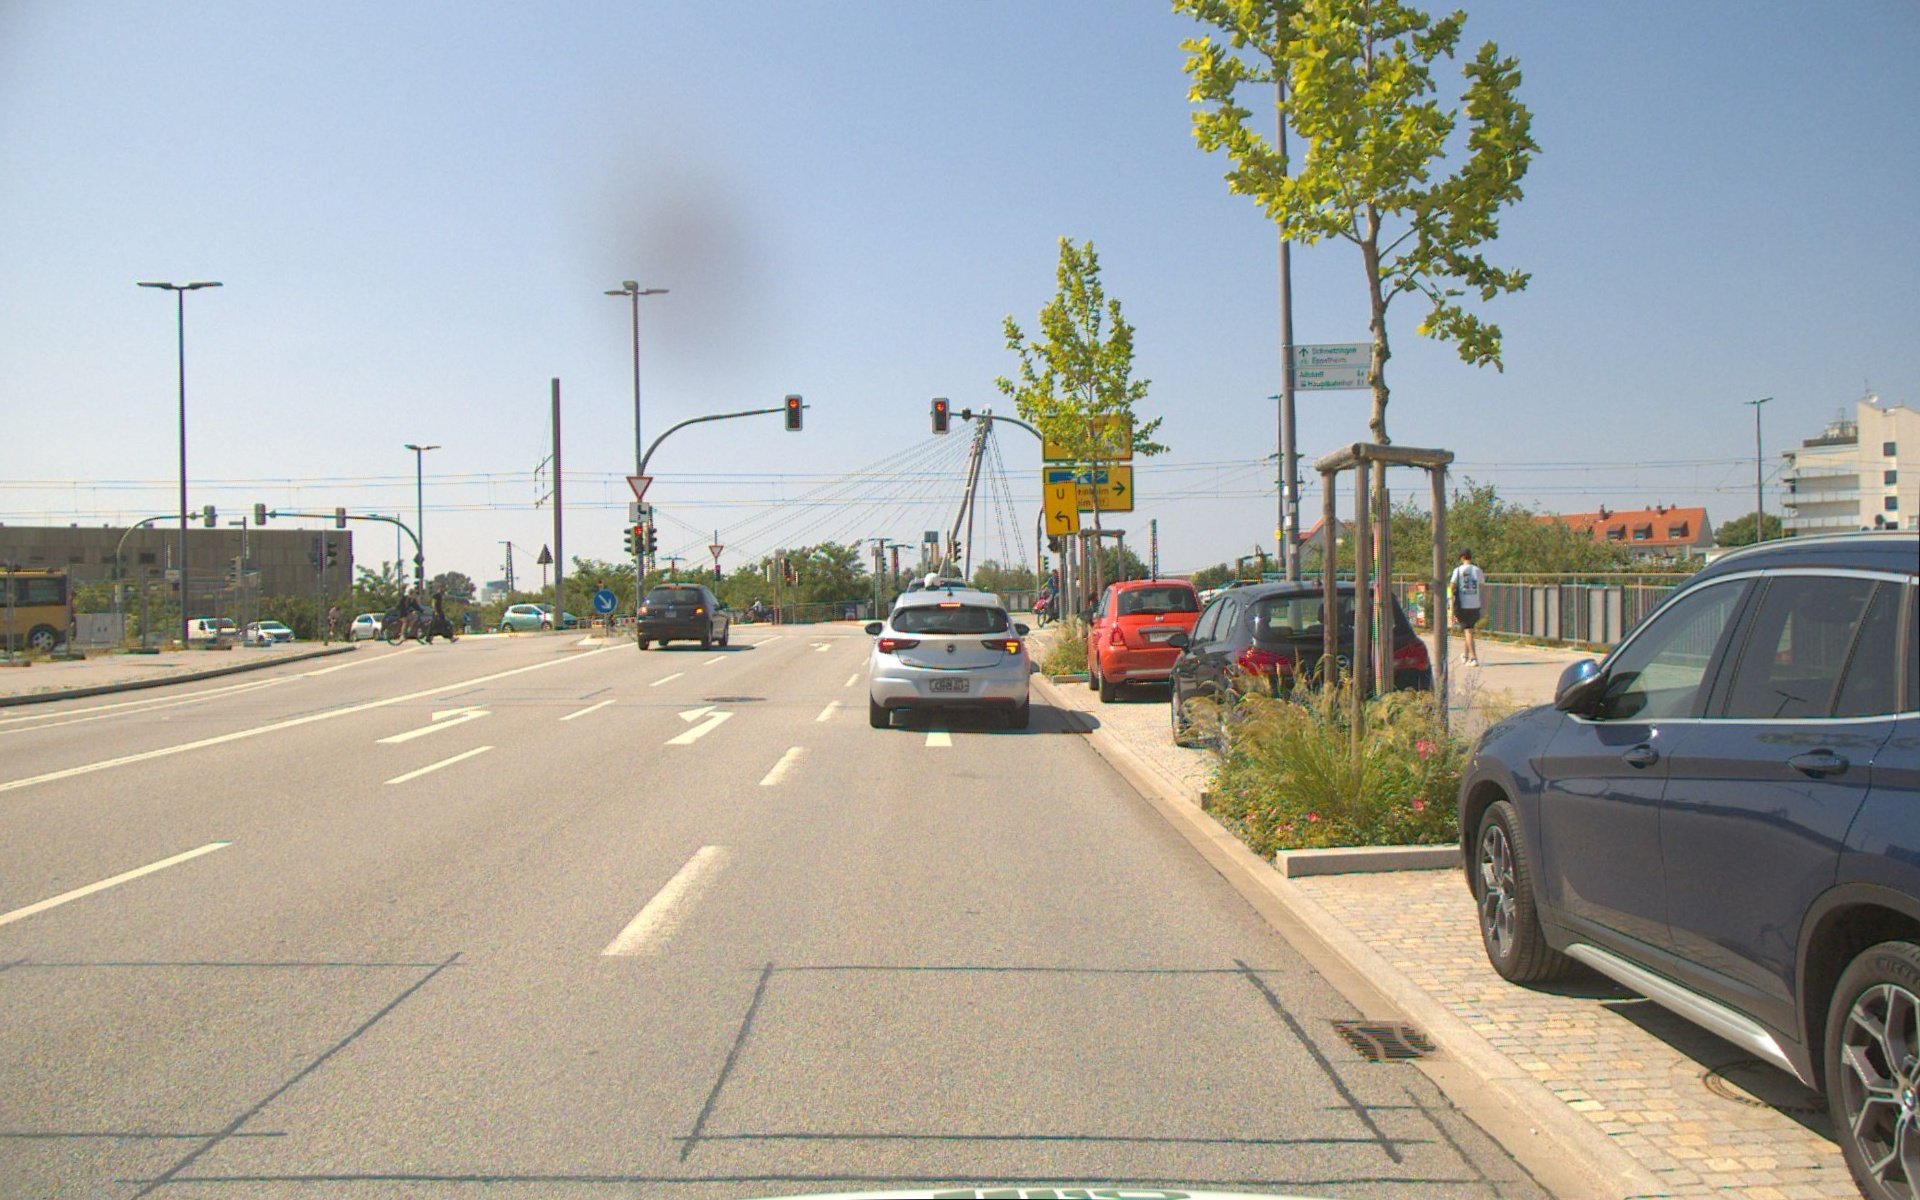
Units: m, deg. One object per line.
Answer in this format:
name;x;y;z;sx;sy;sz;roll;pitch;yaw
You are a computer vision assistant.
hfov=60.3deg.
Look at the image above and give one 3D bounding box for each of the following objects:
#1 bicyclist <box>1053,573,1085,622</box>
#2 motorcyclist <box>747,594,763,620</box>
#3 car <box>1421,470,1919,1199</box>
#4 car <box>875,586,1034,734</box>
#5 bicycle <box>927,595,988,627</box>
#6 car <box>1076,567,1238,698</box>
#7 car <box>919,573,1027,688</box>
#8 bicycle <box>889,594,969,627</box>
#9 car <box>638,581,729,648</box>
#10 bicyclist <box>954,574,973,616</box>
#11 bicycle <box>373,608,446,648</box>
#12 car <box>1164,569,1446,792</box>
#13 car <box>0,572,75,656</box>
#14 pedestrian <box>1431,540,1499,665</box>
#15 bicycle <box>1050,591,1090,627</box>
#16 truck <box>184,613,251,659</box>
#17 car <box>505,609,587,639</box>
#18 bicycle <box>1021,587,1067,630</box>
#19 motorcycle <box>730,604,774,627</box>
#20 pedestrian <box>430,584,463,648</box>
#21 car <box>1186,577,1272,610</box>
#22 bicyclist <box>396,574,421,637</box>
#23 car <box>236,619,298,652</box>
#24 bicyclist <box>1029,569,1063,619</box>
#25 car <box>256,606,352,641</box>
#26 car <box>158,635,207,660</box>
bicyclist;3.657;-0.077;55.333;0.803;1.596;0.948;1;-1;20
motorcyclist;-11.850;0.416;95.778;0.792;1.502;0.885;1;-1;0
car;2.922;0.550;4.968;1.767;1.712;4.270;-2;0;-1
car;-0.084;0.614;19.420;1.656;1.546;4.270;0;0;-1
bicycle;-0.088;0.404;61.459;2.271;1.153;0.637;0;0;0
car;2.603;0.413;22.622;1.636;1.567;3.916;-2;0;-1
car;0.164;0.473;26.795;1.601;1.703;3.744;1;0;-1
bicycle;-0.952;0.319;50.846;2.453;1.025;0.605;0;0;0
car;-6.213;0.321;37.444;1.555;1.419;3.339;0;0;-1
bicyclist;0.131;-0.188;61.474;0.704;1.530;0.824;0;-1;0
bicycle;-16.982;0.865;51.013;2.042;1.198;0.554;1;-1;-9
car;2.800;0.576;14.121;1.549;1.582;3.546;-3;1;-1
car;-23.234;0.310;38.264;1.961;1.923;4.466;1;-1;38
pedestrian;7.670;0.041;25.139;0.742;1.862;0.885;1;-1;-1
bicycle;3.697;0.308;55.418;0.661;1.147;2.365;1;0;20
truck;-42.933;2.053;95.578;4.628;2.585;1.987;0;0;44
car;-19.890;1.144;79.354;3.716;1.386;1.531;-1;1;27
bicycle;2.688;0.249;52.696;0.711;1.153;2.534;-4;3;19
motorcycle;-12.035;0.906;95.778;2.485;1.255;0.648;1;-1;-2
pedestrian;-15.443;0.478;49.763;0.725;1.896;0.753;1;-1;-2
car;14.610;-0.347;89.855;4.179;1.703;1.990;0;0;-18
bicyclist;-17.007;0.178;51.012;0.582;1.920;0.635;1;-1;-7
car;-41.173;2.076;98.284;3.975;1.846;1.920;0;0;43
bicyclist;2.762;-0.182;52.951;0.843;1.587;0.825;1;-1;21
car;-31.168;1.120;78.660;3.889;1.578;1.677;-1;-1;8
car;-46.832;2.840;99.561;1.652;1.414;3.728;1;-1;-42
